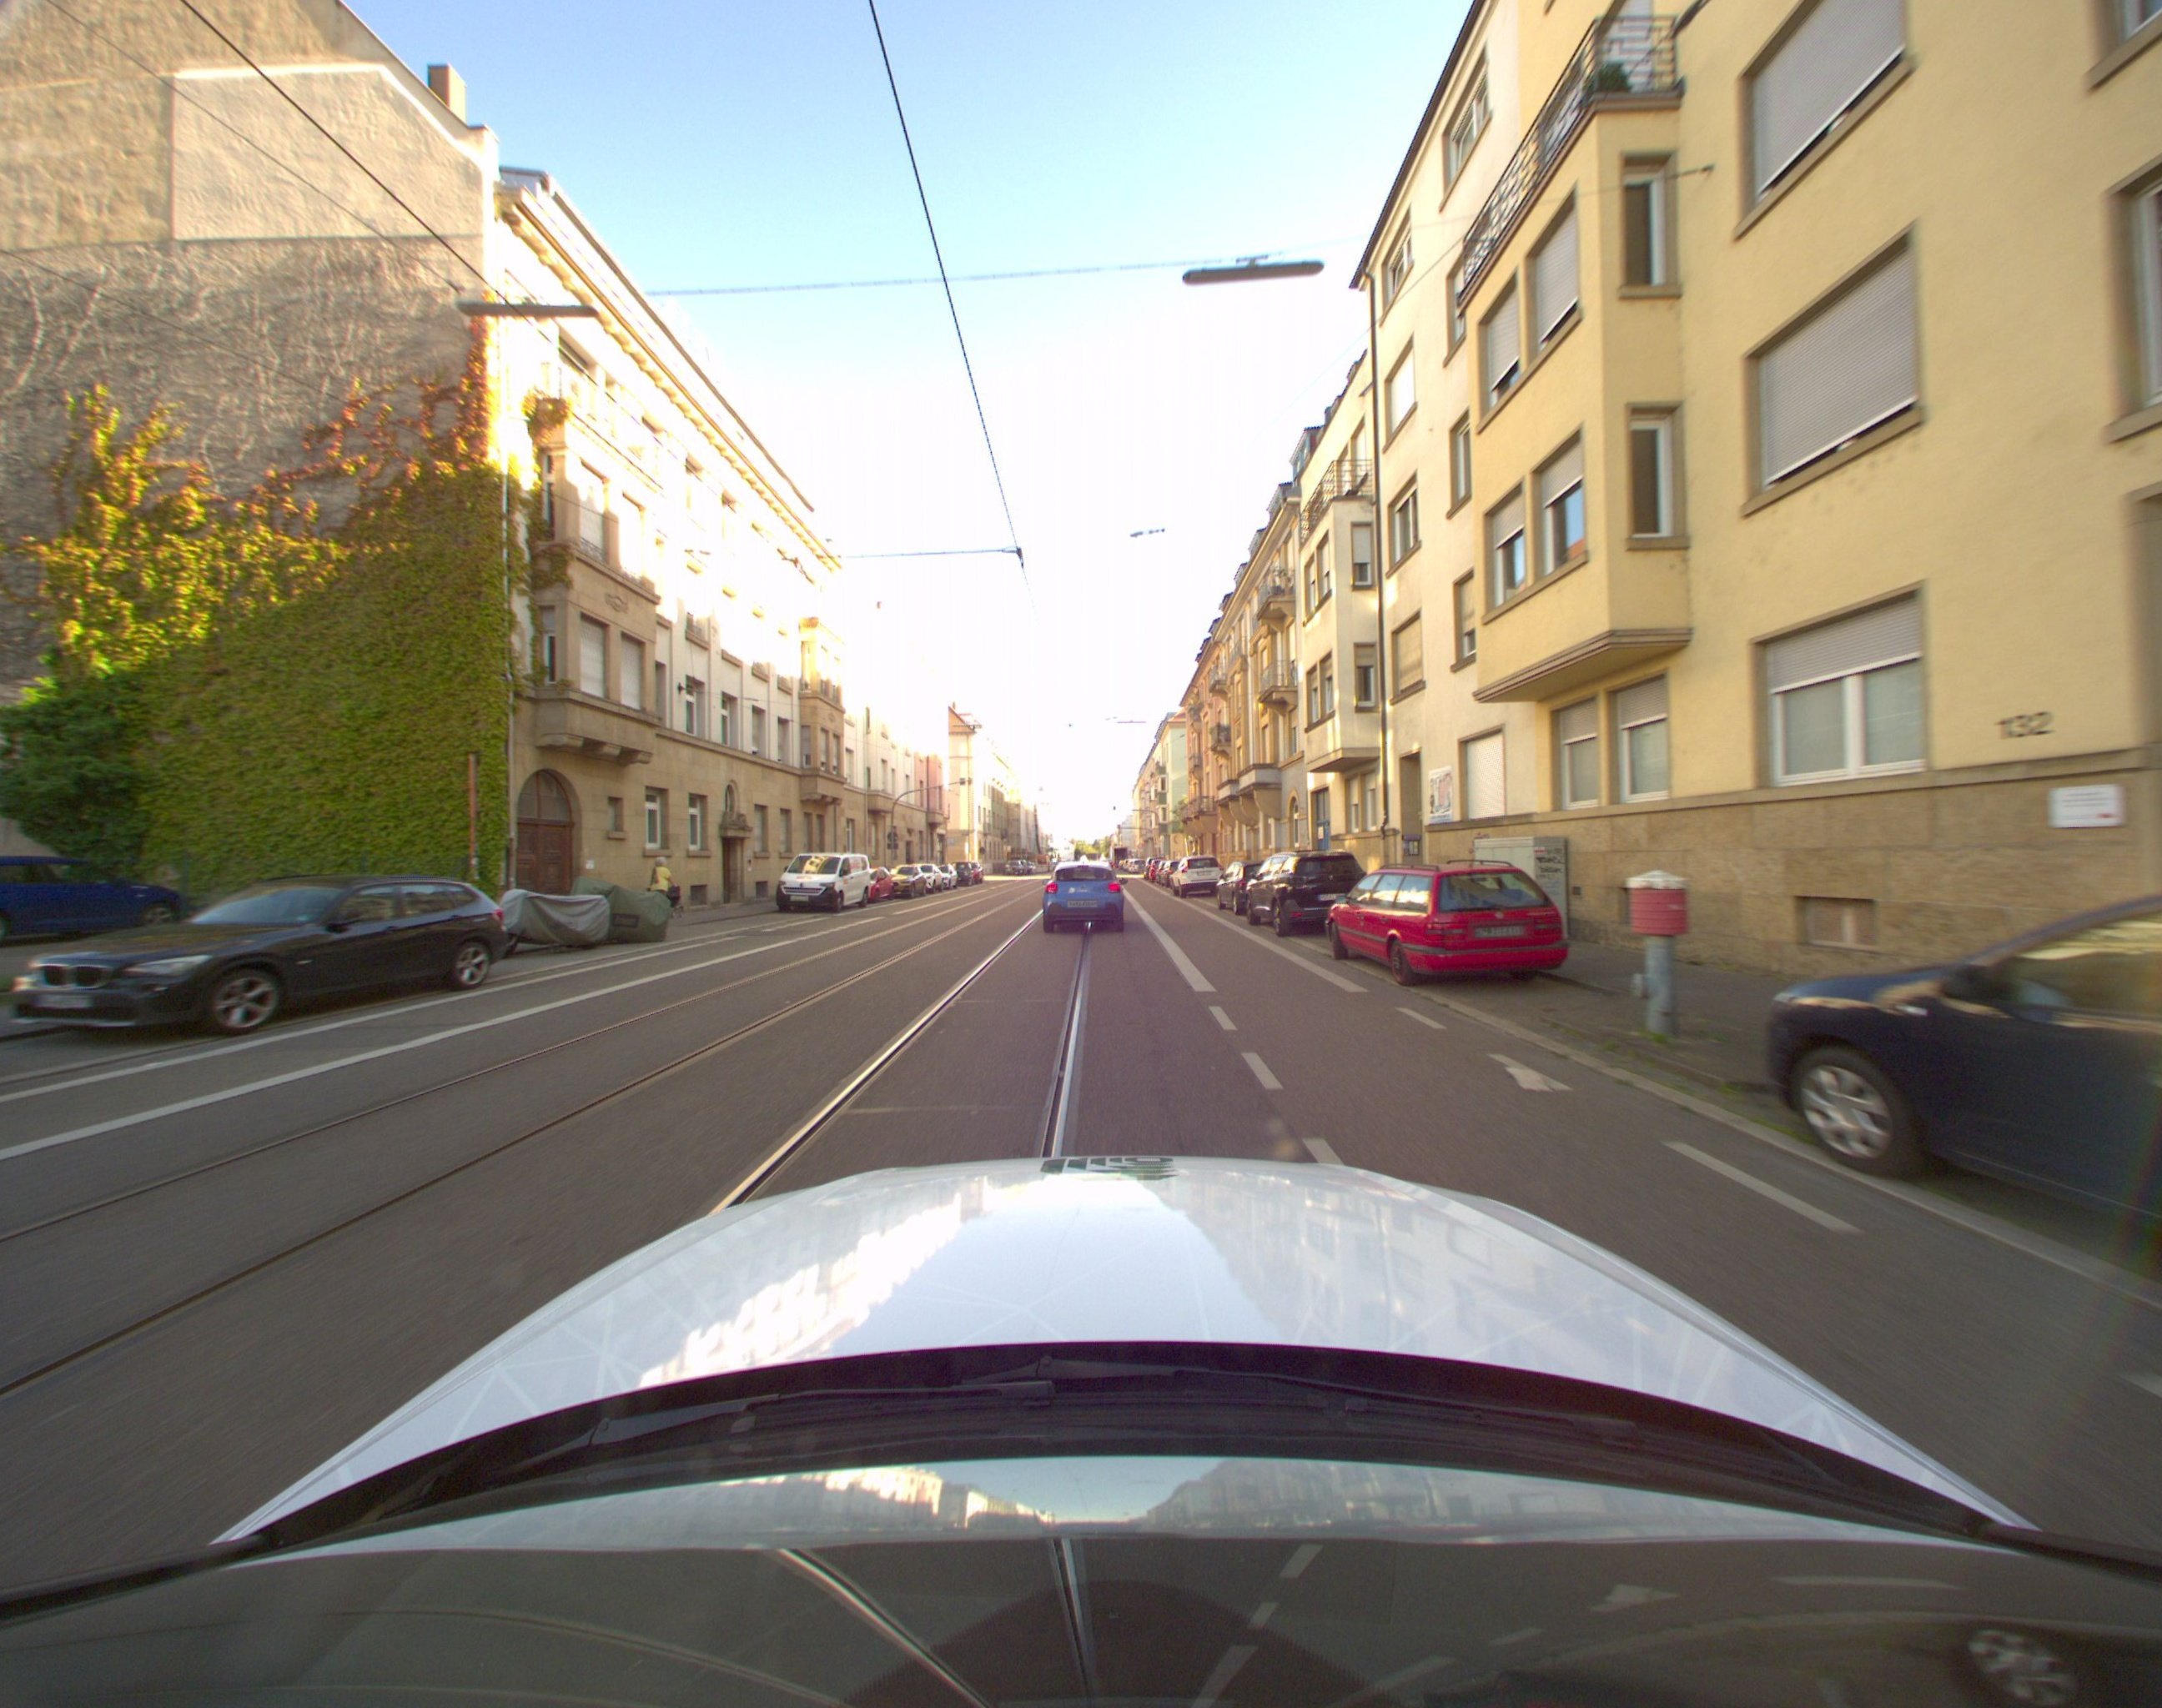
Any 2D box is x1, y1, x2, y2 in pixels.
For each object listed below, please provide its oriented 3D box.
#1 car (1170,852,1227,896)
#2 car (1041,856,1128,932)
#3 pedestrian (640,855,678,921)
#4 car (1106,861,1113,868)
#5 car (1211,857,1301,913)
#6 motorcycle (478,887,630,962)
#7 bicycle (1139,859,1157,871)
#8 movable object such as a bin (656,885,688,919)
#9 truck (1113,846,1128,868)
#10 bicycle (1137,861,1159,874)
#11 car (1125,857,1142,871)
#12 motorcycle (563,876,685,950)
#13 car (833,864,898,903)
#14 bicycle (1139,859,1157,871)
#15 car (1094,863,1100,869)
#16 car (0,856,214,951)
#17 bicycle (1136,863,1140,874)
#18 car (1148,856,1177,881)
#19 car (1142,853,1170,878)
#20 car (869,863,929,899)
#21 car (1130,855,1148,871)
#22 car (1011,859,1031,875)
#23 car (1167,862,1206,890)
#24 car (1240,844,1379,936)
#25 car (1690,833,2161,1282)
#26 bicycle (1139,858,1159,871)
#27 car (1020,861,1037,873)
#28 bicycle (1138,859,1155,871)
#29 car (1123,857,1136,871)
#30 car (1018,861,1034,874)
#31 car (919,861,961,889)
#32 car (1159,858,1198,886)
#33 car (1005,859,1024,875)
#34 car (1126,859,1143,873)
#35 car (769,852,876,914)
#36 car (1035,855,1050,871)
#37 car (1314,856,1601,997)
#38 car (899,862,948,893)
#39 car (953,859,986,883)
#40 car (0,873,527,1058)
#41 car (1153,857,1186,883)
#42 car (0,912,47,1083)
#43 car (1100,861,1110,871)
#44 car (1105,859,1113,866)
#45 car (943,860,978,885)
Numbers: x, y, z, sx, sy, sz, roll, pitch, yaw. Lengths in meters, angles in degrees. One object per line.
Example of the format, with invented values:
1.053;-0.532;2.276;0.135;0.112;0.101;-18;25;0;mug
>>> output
4.839;0.815;34.143;1.836;1.691;4.506;-1;-1;2;car
0.127;0.820;18.411;1.728;1.507;3.993;1;0;2;car
-11.340;0.900;21.899;0.677;1.724;0.616;-1;-1;1;pedestrian
6.735;2.462;193.113;1.759;1.487;4.033;-1;-1;2;car
4.901;0.827;23.338;1.731;1.442;4.032;-1;-1;0;car
-9.423;1.215;14.668;0.732;1.171;2.193;-1;-1;31;motorcycle
6.872;1.135;83.650;1.716;1.154;0.469;-5;-1;1;bicycle
-11.318;1.319;22.522;0.610;0.900;0.518;-1;-1;1;movable object such as a bin
7.754;0.547;159.956;2.842;4.083;11.277;-2;-1;3;truck
6.706;1.316;81.165;2.079;1.154;0.848;-4;-1;1;bicycle
6.850;1.319;105.726;1.651;1.752;4.598;-1;-1;-3;car
-9.227;1.144;16.525;0.875;1.351;1.970;-1;-1;33;motorcycle
-8.794;1.182;33.545;1.597;1.473;3.647;1;0;1;car
6.875;1.131;83.102;1.716;1.154;0.469;-5;-1;1;bicycle
4.787;3.570;246.910;1.819;1.632;4.492;-1;-1;2;car
-18.168;0.808;14.241;1.746;1.525;3.910;-1;0;2;car
5.921;1.483;84.080;0.351;1.044;1.729;-1;0;3;bicycle
5.498;0.970;55.457;1.746;1.594;3.732;-1;-1;2;car
5.648;0.874;61.987;1.747;1.735;4.508;-4;-1;2;car
-8.363;1.202;37.830;1.777;1.523;4.359;1;0;0;car
6.296;0.964;89.113;1.777;1.632;4.001;-1;-1;2;car
-6.854;1.444;93.099;1.776;1.816;4.530;1;0;2;car
5.206;1.062;40.670;1.647;1.249;4.509;-1;0;4;car
4.699;0.690;17.439;1.851;1.665;4.564;-1;-1;3;car
4.480;0.668;2.866;1.712;1.491;4.003;-2;-1;1;car
6.826;1.098;81.865;1.836;1.154;0.469;-5;-1;1;bicycle
-6.865;1.692;106.648;1.711;1.502;4.390;1;0;3;car
6.920;1.154;85.769;1.716;1.154;0.469;-5;-1;1;bicycle
7.029;1.454;118.113;1.724;1.827;4.688;-1;-1;2;car
-6.790;1.673;100.867;1.778;1.627;4.607;1;0;-1;car
-8.358;1.214;48.569;1.778;1.622;4.178;1;0;-1;car
5.386;0.985;45.627;1.649;1.483;4.474;-1;-1;0;car
-7.280;1.411;89.306;1.778;1.690;4.666;1;0;-1;car
6.236;1.413;94.874;1.777;1.576;4.327;-1;-1;2;car
-8.777;0.933;28.239;1.966;1.949;5.251;1;0;0;car
-5.836;1.383;124.395;2.138;2.475;4.978;0;0;-1;car
4.656;0.785;10.988;1.851;1.455;4.712;-1;0;3;car
-8.349;1.202;43.406;1.766;1.547;4.364;1;0;-1;car
-8.000;1.189;58.570;1.778;1.606;4.395;1;0;-1;car
-9.137;1.055;9.645;1.775;1.565;4.614;1;0;3;car
5.476;0.998;50.693;1.648;1.513;4.475;-1;-1;1;car
-9.374;1.107;4.523;1.777;1.314;4.222;1;0;1;car
4.672;2.308;159.971;1.814;1.894;4.001;0;0;1;car
8.646;2.638;252.236;2.211;2.284;4.085;-1;-1;2;car
-8.011;1.216;54.293;1.777;1.553;3.020;1;0;1;car
